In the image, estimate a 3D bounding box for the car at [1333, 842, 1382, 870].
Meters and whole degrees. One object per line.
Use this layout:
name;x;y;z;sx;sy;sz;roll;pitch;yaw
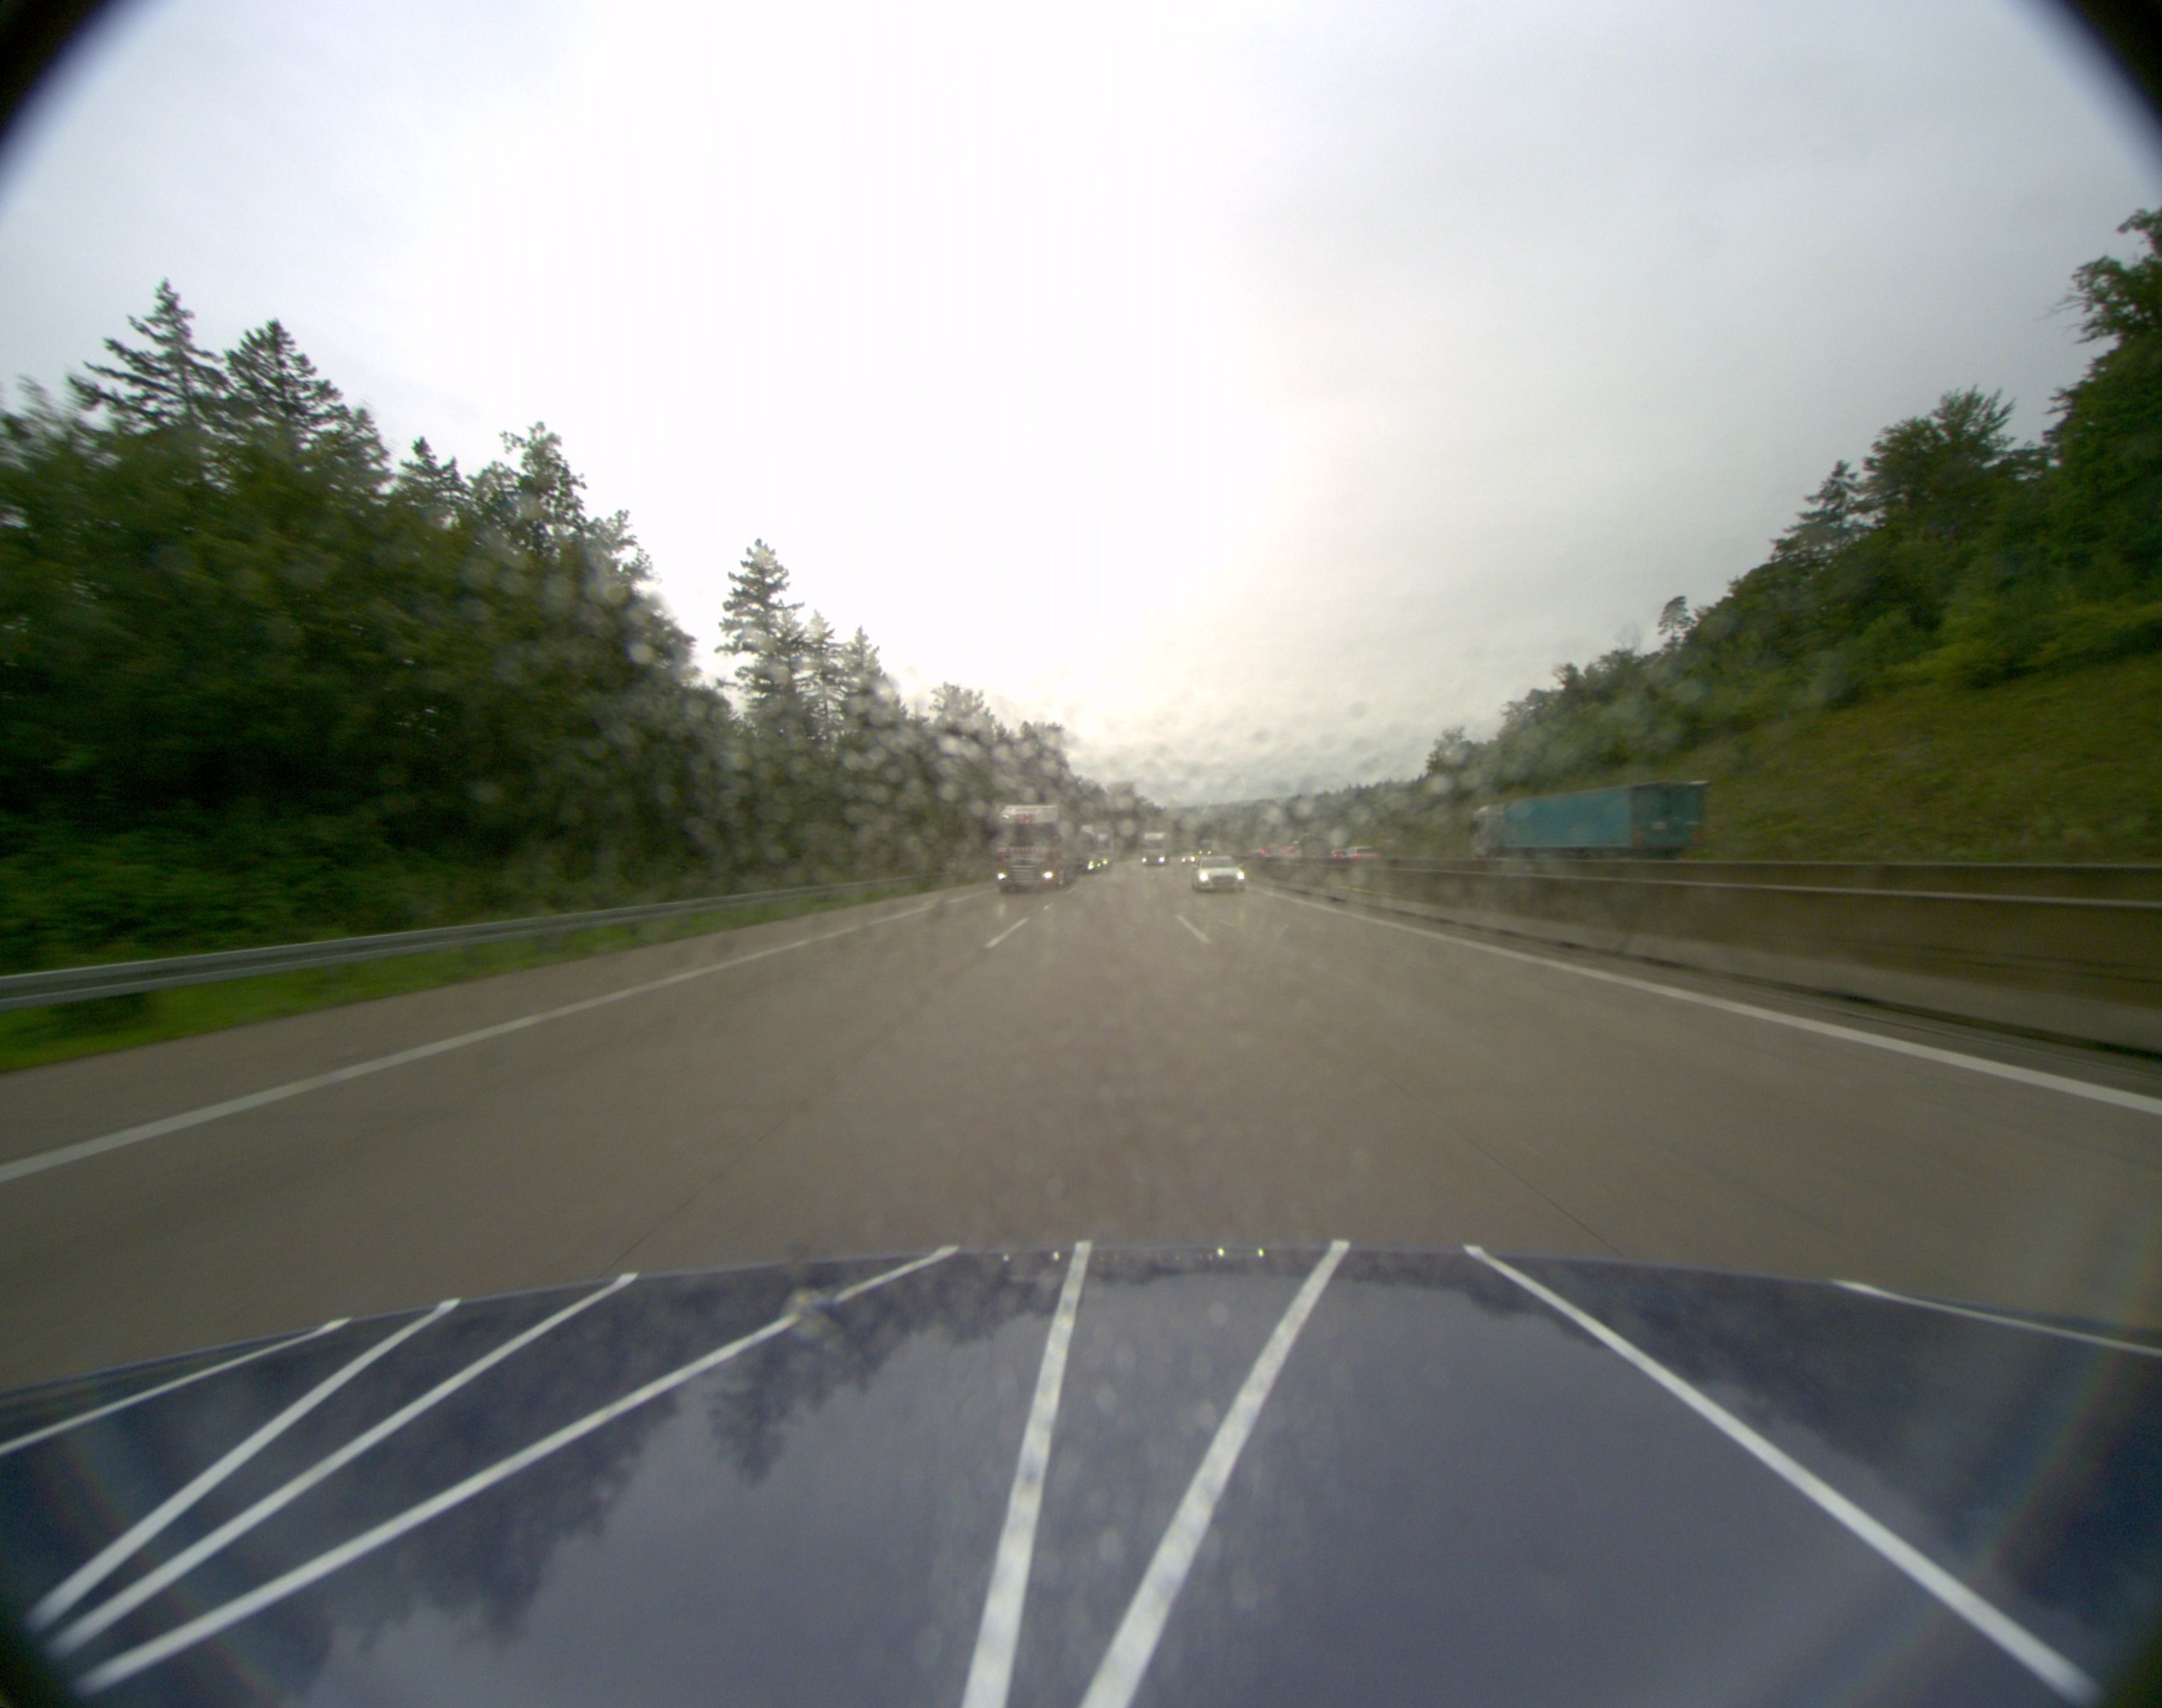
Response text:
car;18.853;0.105;52.098;1.735;1.766;4.758;-1;0;2

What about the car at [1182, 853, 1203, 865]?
car;15.049;0.645;102.532;1.847;1.474;4.455;-2;0;21

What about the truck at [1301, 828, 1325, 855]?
truck;36.231;-1.921;118.922;2.931;3.938;8.125;-1;1;13

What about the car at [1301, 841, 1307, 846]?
car;72.723;-3.537;247.413;1.744;1.552;4.288;-1;1;15

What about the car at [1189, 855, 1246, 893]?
car;5.566;0.755;31.409;1.716;1.399;4.937;-2;0;3

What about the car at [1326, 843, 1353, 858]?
car;26.502;-0.359;78.078;1.734;1.484;4.001;-1;0;6

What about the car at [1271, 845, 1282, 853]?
car;39.438;-1.034;153.579;1.996;1.576;4.776;-1;1;13

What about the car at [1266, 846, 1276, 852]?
car;48.912;-1.375;195.875;1.997;1.576;4.774;-1;1;8

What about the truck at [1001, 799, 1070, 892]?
truck;-1.985;-0.336;35.250;2.380;3.930;6.162;-1;0;4

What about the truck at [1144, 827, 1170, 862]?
truck;9.359;-1.140;93.184;2.726;4.017;5.756;-4;0;8

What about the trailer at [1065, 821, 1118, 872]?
trailer;1.209;-0.713;68.317;2.739;4.080;13.690;-2;1;9

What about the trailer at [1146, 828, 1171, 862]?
trailer;10.313;-1.194;100.319;2.684;4.017;13.712;-4;0;8

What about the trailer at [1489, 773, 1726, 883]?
trailer;21.987;-0.961;32.984;2.914;3.866;11.037;-2;0;2

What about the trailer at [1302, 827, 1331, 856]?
trailer;34.756;-1.850;112.630;2.931;3.937;13.475;-1;1;13

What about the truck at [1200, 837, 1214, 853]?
truck;33.347;-2.406;200.803;2.734;4.127;8.631;-2;0;15

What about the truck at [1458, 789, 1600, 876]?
truck;22.185;-0.978;38.201;2.914;3.866;7.365;-2;0;2

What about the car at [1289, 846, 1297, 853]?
car;58.758;-1.227;210.390;1.996;2.002;4.004;-1;0;13

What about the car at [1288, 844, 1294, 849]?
car;68.696;-2.316;248.701;1.744;1.552;4.288;-2;0;15

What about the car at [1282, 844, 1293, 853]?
car;47.378;-1.200;174.499;1.997;2.002;4.003;-1;0;11

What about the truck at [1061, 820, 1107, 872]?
truck;0.300;-0.656;63.025;2.804;4.080;5.971;-2;1;9

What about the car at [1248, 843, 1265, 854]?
car;24.164;-0.732;104.774;1.734;1.484;4.002;-1;0;7

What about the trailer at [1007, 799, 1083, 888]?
trailer;-1.604;-0.455;40.693;2.376;3.930;12.524;-2;0;4
